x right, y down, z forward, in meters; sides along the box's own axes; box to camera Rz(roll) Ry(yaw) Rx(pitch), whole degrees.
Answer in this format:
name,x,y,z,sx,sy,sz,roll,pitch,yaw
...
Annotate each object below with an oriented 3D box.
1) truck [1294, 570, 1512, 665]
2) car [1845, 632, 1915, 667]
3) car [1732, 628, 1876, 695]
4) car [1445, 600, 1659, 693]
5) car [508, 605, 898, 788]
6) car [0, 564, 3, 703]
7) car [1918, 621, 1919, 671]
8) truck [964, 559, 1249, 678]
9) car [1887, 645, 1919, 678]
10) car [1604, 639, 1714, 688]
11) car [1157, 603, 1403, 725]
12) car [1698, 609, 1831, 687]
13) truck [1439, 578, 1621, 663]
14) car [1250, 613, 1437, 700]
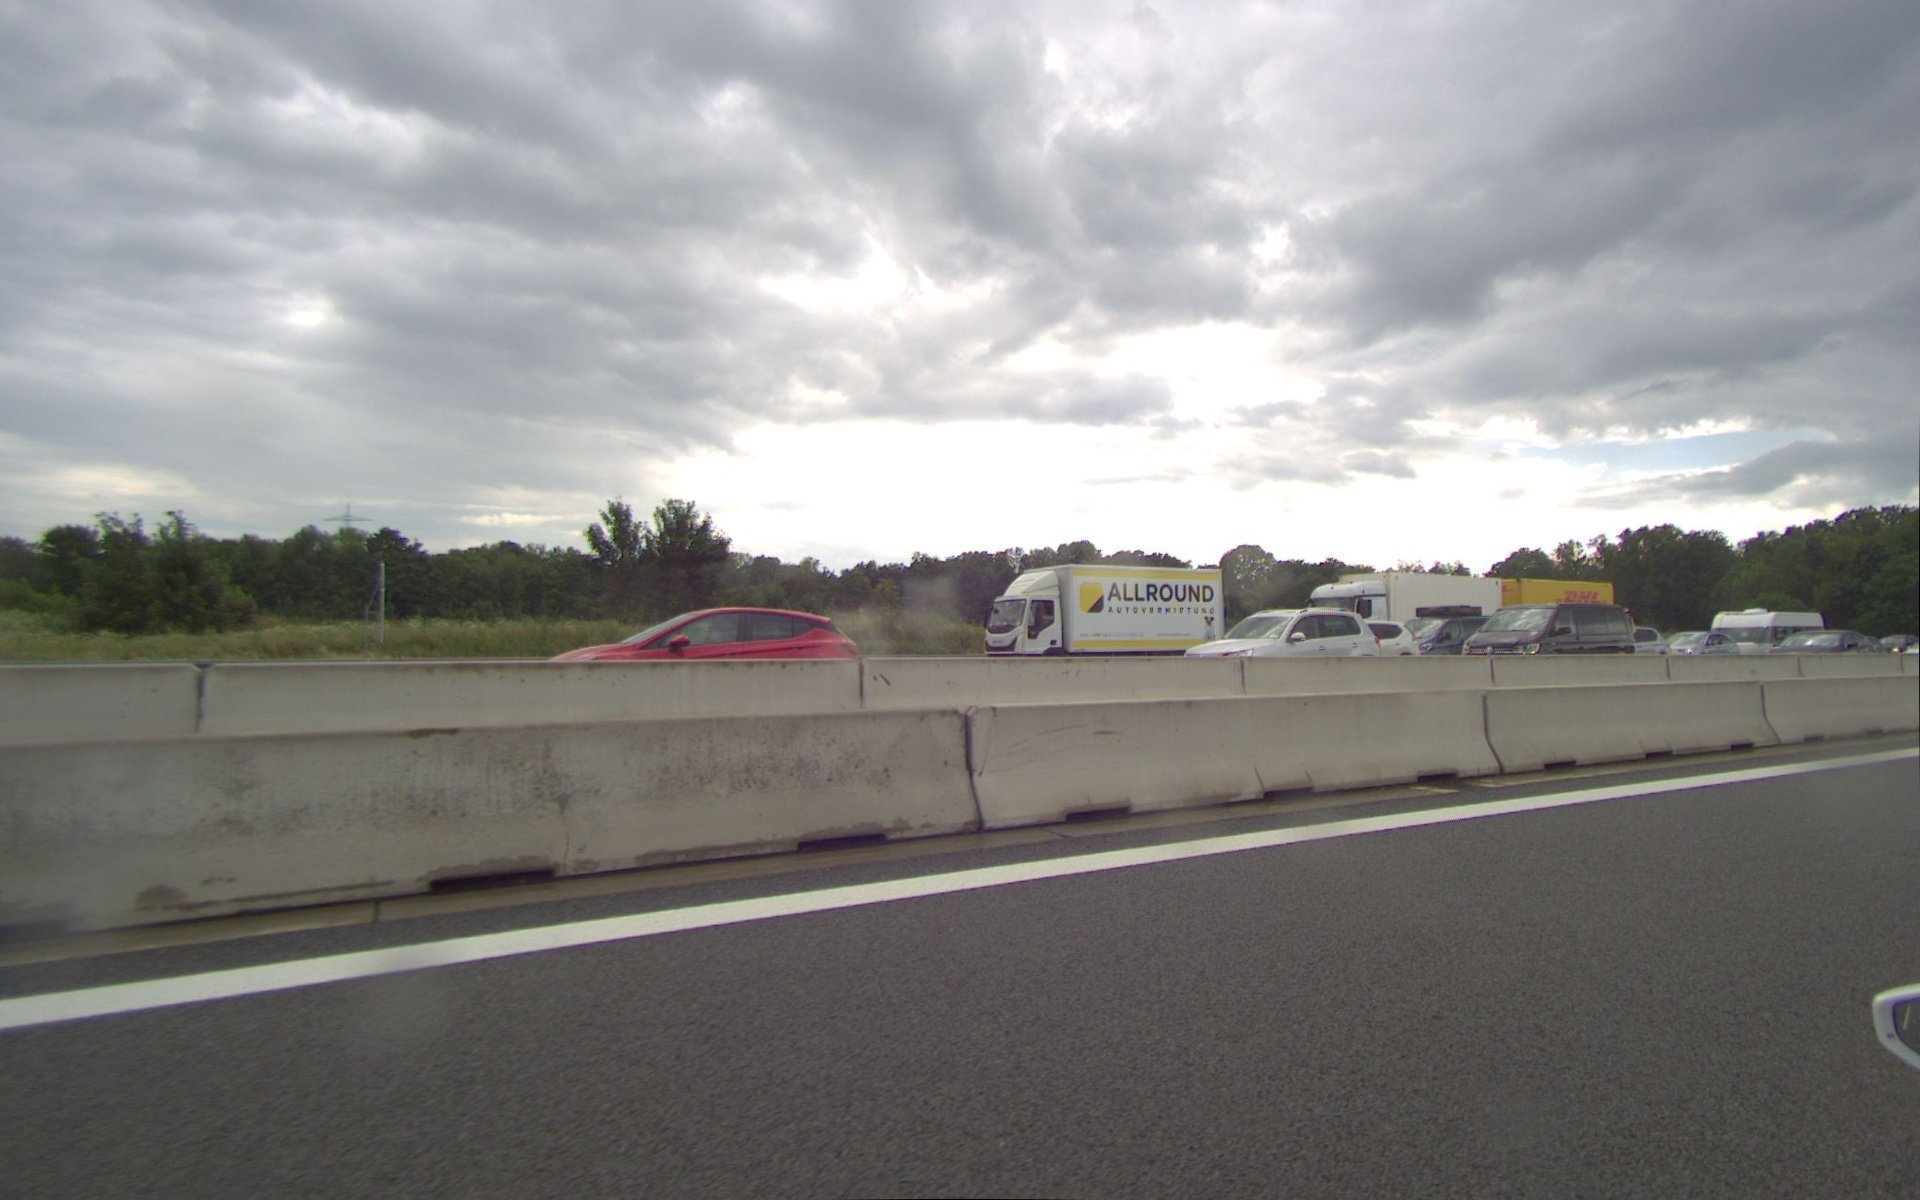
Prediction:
name,x,y,z,sx,sy,sz,roll,pitch,yaw
truck,18.825,0.807,42.371,10.187,3.660,2.865,2,-1,-29
car,58.053,3.096,63.357,4.488,2.040,1.984,1,-1,-30
car,24.606,1.745,29.268,3.953,1.773,1.984,1,-1,-30
car,14.371,1.081,24.273,5.691,2.040,1.984,1,-1,-31
car,-3.344,1.138,13.295,4.632,2.040,1.984,1,-1,-30
car,-11.341,0.550,8.380,4.450,1.929,1.984,1,-1,-30
car,37.263,1.722,36.772,4.618,1.805,1.984,1,-1,-30
truck,4.766,0.622,31.668,9.093,3.334,2.896,1,-1,-30
car,53.197,3.365,55.266,4.643,1.737,1.984,1,-1,-30
car,28.294,2.526,40.634,4.655,1.795,1.864,1,-1,-30
car,6.045,1.127,18.858,4.373,2.040,1.984,1,-1,-30
car,36.574,2.134,45.608,6.487,3.321,2.647,1,0,-31
truck,26.606,1.001,46.734,9.464,3.660,2.865,2,-1,-29
car,9.954,1.411,25.995,4.756,2.040,1.984,1,-1,-30
